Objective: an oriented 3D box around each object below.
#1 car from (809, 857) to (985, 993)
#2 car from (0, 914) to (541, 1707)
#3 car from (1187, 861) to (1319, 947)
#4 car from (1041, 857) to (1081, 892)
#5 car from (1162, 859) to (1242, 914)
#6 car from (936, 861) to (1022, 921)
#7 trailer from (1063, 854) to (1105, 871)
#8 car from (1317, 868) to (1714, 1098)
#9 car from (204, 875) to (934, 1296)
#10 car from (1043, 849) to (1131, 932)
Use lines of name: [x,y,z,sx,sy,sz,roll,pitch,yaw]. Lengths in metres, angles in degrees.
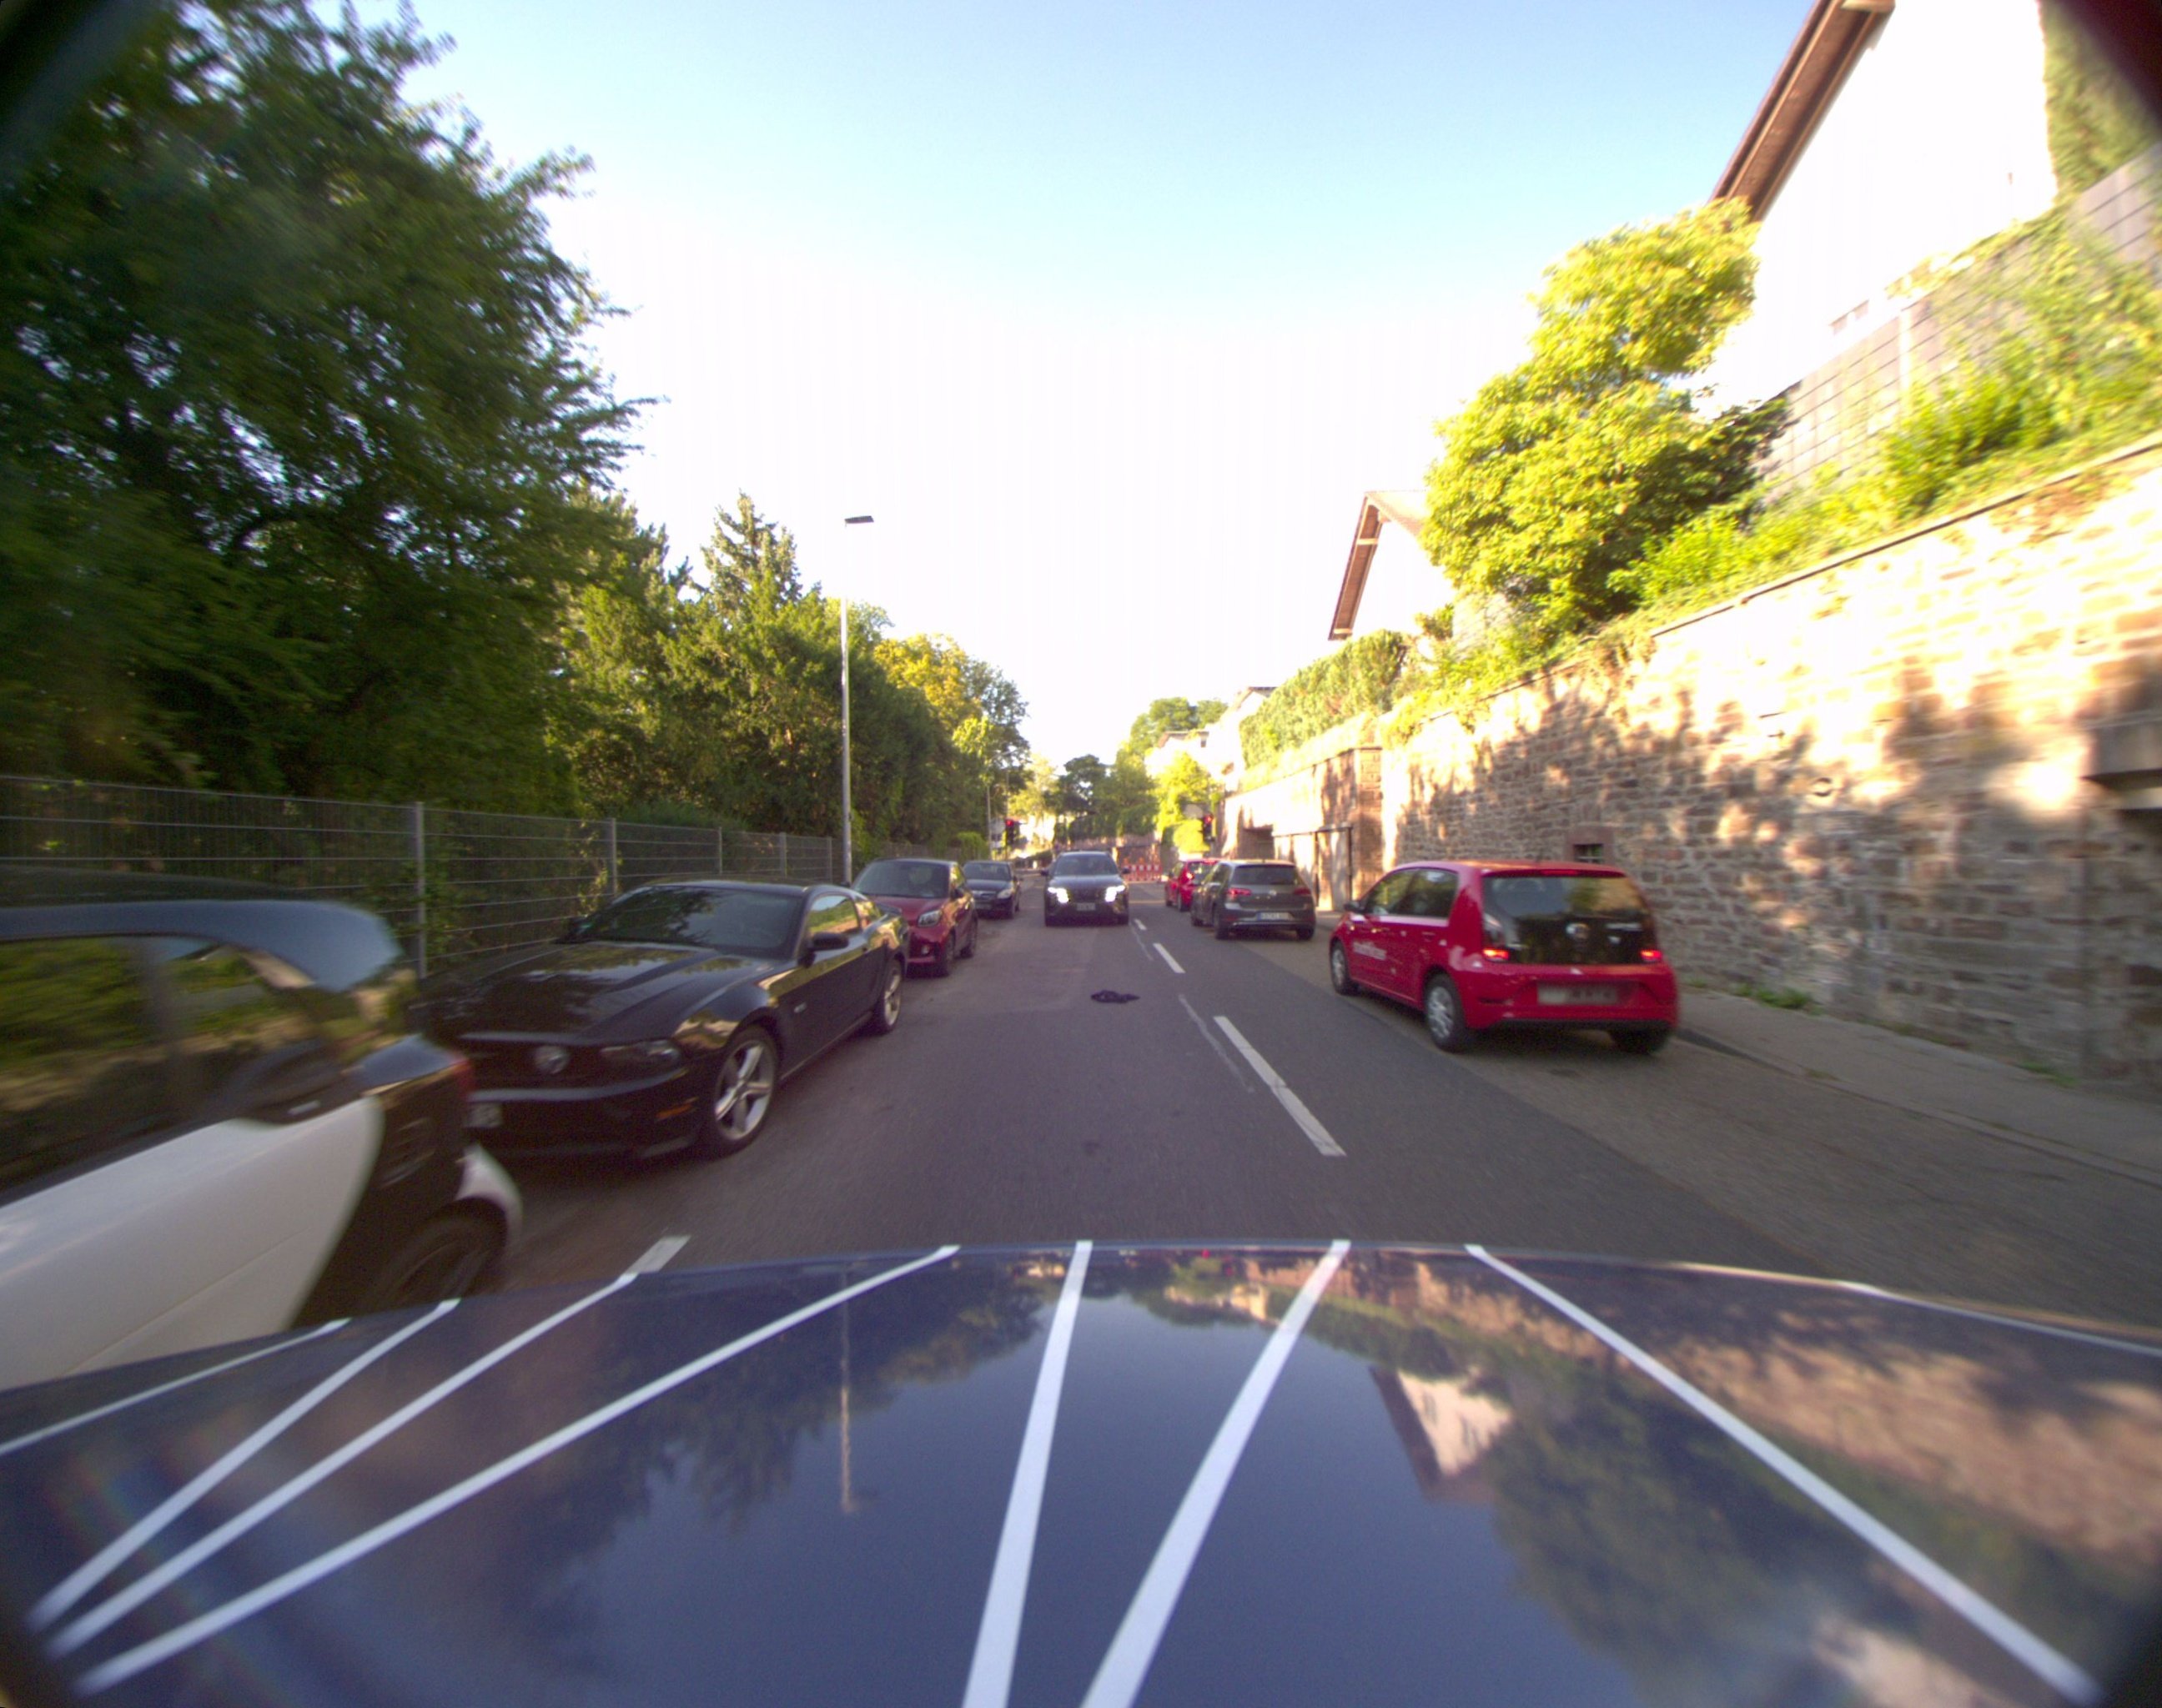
car: [-2.486,0.887,10.926,1.657,1.555,2.872,4,1,2]
car: [-2.517,0.945,0.998,1.629,1.501,2.902,1,-1,-4]
car: [3.179,0.865,14.826,1.653,1.403,3.930,0,0,-1]
car: [-0.865,0.906,35.037,1.662,1.468,3.682,-2,0,0]
car: [3.365,0.867,21.730,1.631,1.413,3.562,0,0,-2]
car: [-2.664,0.920,20.656,1.799,1.432,4.000,-1,0,0]
trailer: [0.223,0.797,74.922,2.649,1.481,7.111,-2,0,-11]
car: [3.469,0.902,6.892,1.554,1.457,3.568,1,0,0]
car: [-2.542,1.016,5.460,1.714,1.489,4.815,-3,0,3]
car: [0.042,0.750,18.202,1.788,1.639,4.472,-2,1,-2]
